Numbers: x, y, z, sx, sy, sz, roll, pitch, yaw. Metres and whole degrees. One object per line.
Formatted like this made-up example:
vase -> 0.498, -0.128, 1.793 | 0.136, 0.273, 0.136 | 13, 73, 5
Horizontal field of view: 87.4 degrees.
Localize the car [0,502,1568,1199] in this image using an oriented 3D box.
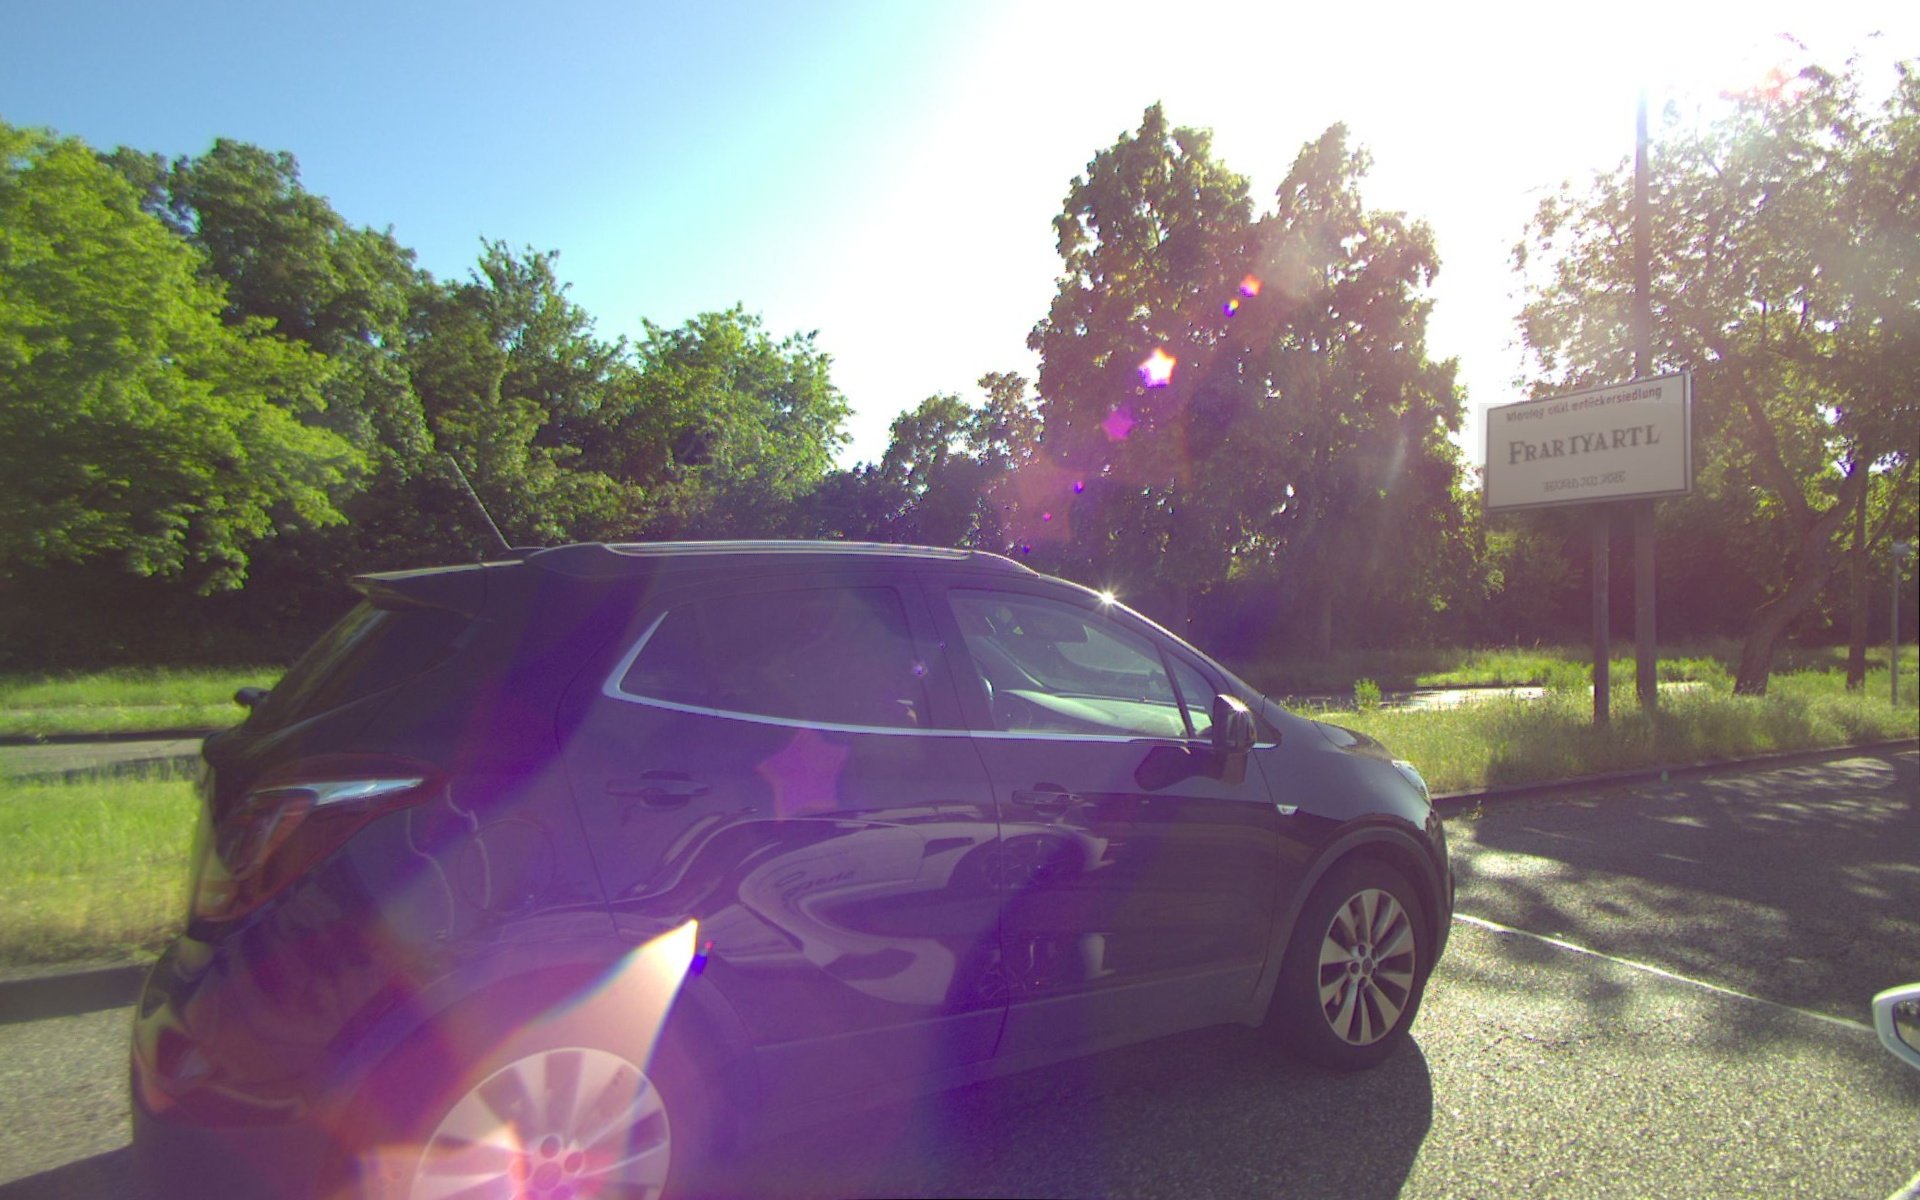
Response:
car -> -0.032, 0.731, 3.359 | 4.366, 1.653, 1.687 | 2, -1, -31
